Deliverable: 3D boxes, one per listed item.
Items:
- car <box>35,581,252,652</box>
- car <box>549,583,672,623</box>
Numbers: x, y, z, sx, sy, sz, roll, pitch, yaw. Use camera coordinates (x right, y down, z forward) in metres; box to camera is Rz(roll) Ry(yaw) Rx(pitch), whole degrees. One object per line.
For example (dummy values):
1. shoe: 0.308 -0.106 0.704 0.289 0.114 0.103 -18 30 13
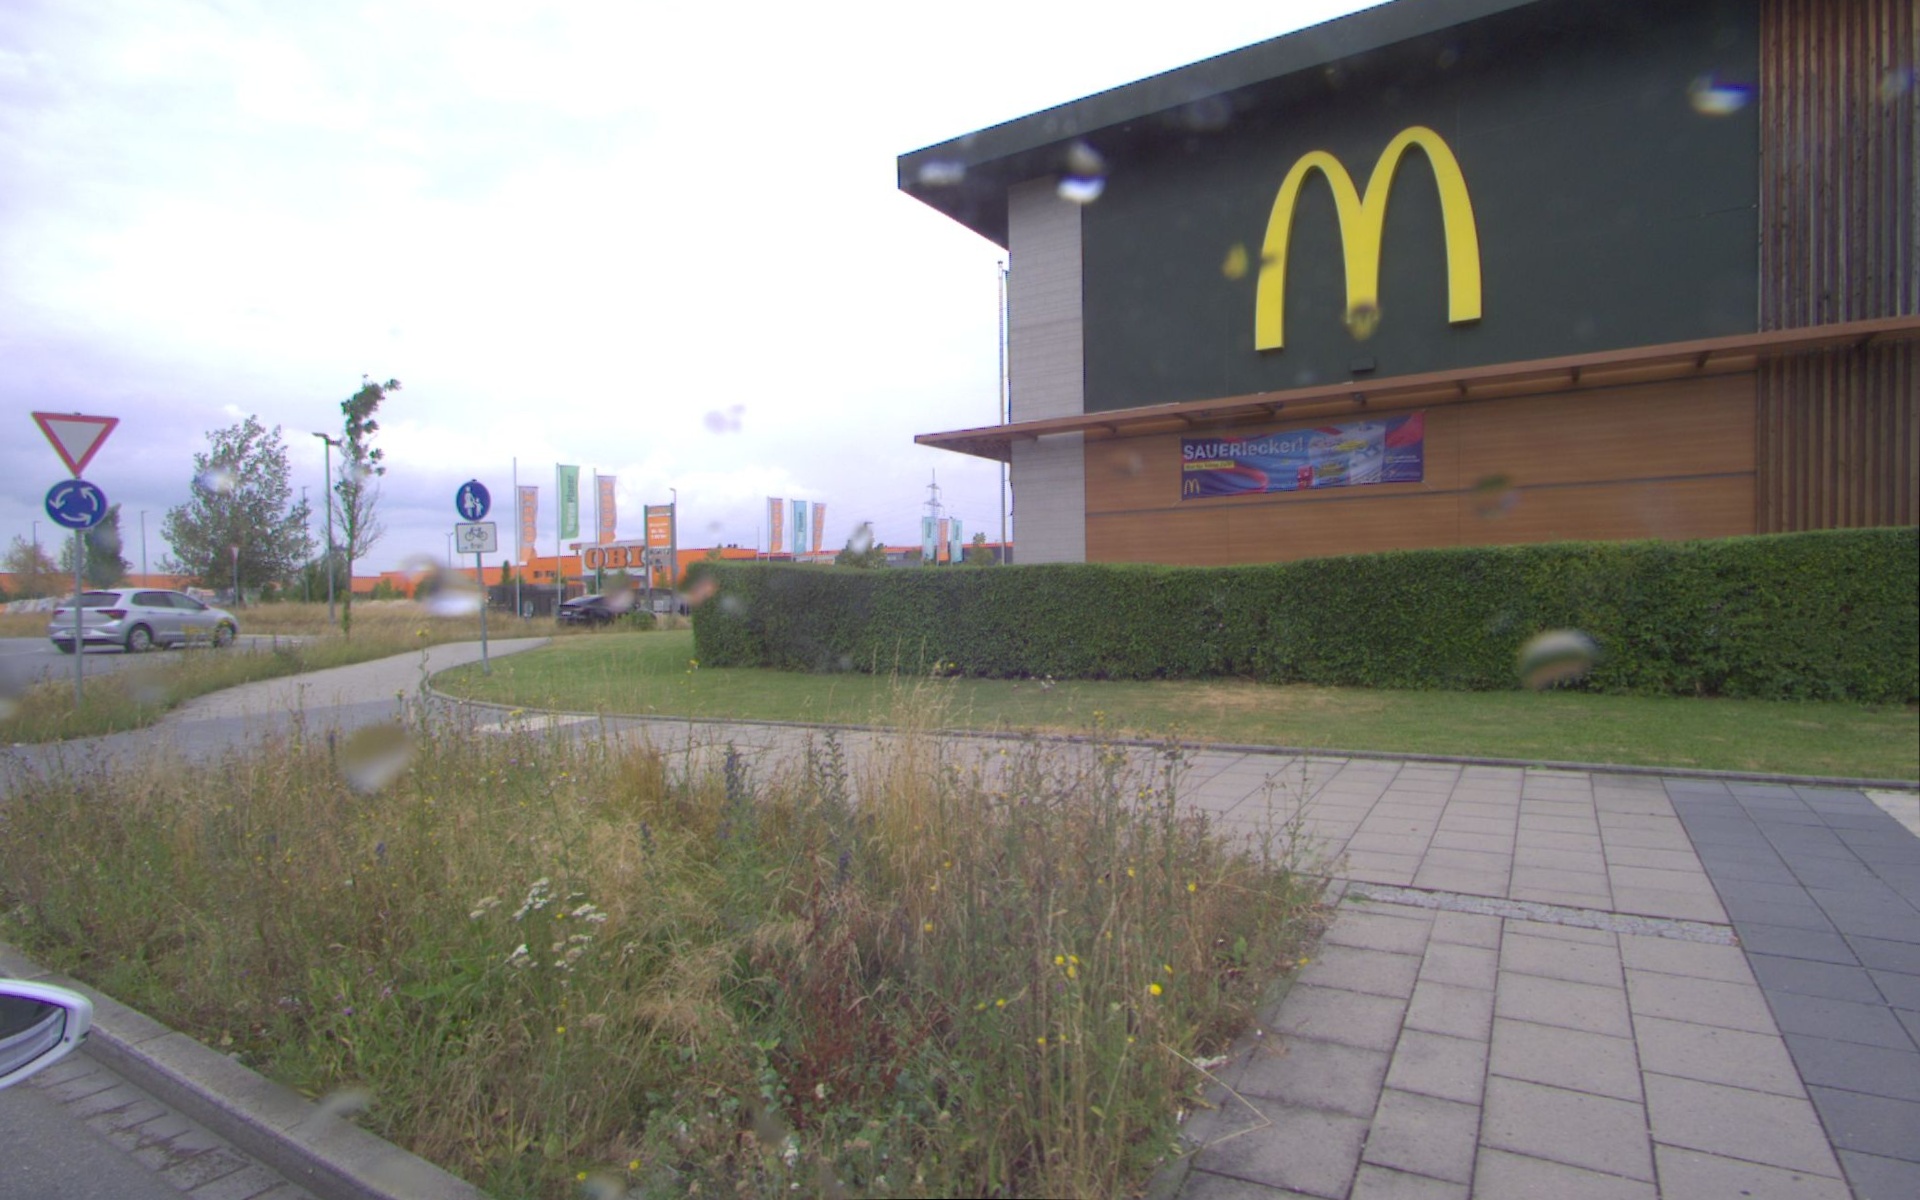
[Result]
1. car: -19.133 0.328 23.725 1.778 1.484 3.998 2 1 2
2. car: -14.726 0.072 42.455 1.916 1.519 4.746 2 2 33
